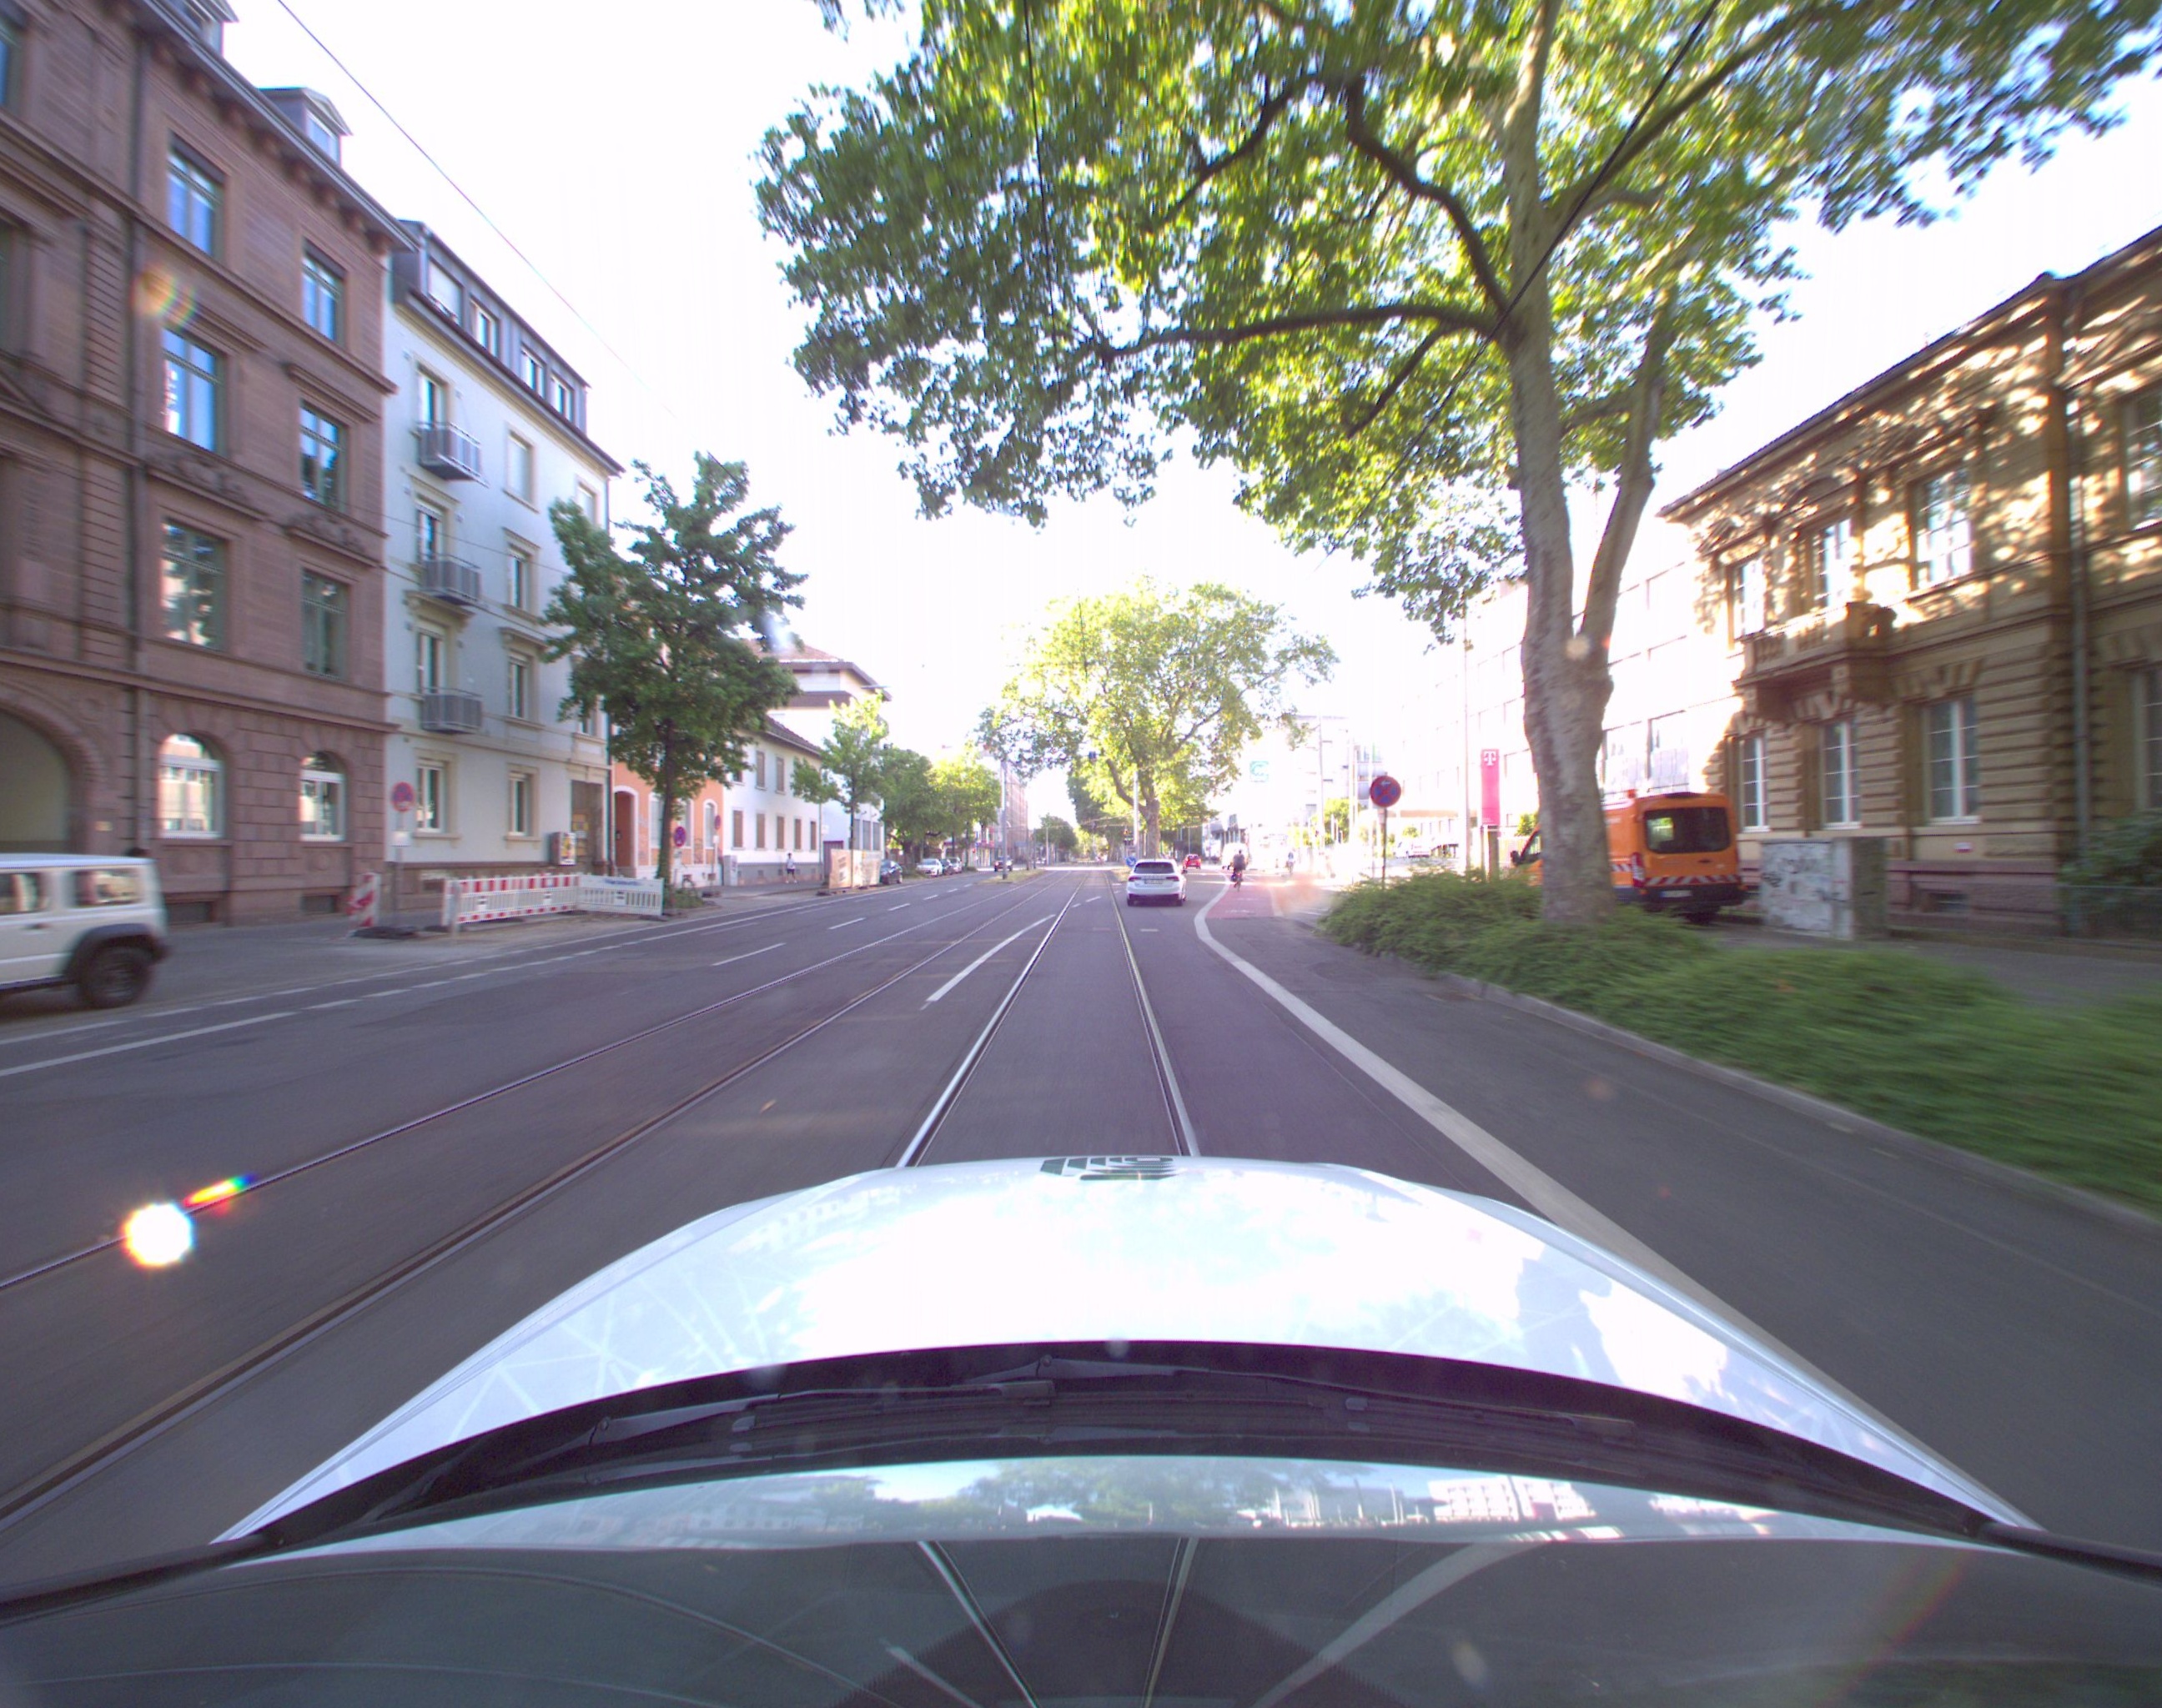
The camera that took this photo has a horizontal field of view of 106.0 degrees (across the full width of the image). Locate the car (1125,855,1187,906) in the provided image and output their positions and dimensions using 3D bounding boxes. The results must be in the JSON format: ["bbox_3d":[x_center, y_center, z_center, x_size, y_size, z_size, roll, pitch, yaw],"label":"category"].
[{"bbox_3d":[2.469,0.786,26.115,1.792,1.501,3.990,0,0,8],"label":"car"}]

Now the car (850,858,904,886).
[{"bbox_3d":[-12.017,1.026,48.272,1.987,1.513,4.724,-1,0,0],"label":"car"}]

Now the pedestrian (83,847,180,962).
[{"bbox_3d":[-14.045,0.727,12.065,0.566,1.654,0.687,1,0,-1],"label":"pedestrian"}]

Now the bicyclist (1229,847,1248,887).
[{"bbox_3d":[6.693,0.525,34.507,0.738,1.669,0.747,1,0,13],"label":"bicyclist"}]

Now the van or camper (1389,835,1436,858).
[{"bbox_3d":[28.977,-0.654,71.352,1.974,1.909,4.999,-1,0,0],"label":"van or camper"}]

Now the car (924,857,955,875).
[{"bbox_3d":[-12.346,0.999,71.405,1.988,1.476,4.647,-1,0,-1],"label":"car"}]

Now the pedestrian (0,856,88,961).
[{"bbox_3d":[-14.993,0.770,11.738,0.574,1.461,0.607,1,0,-1],"label":"pedestrian"}]

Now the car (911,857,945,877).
[{"bbox_3d":[-12.270,1.006,65.485,1.988,1.471,4.403,-1,0,-1],"label":"car"}]

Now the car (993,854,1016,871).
[{"bbox_3d":[-8.064,0.910,86.158,1.988,1.689,4.307,-1,0,-1],"label":"car"}]

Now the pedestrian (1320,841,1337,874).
[{"bbox_3d":[12.830,0.188,42.180,0.689,1.684,0.936,-1,0,24],"label":"pedestrian"}]

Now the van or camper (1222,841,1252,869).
[{"bbox_3d":[15.814,0.119,82.871,2.258,2.733,6.355,2,0,5],"label":"van or camper"}]

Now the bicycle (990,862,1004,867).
[{"bbox_3d":[-13.466,1.655,131.082,2.164,0.787,0.640,-1,0,-3],"label":"bicycle"}]

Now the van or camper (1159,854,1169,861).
[{"bbox_3d":[21.437,0.848,210.541,2.140,1.750,4.428,-2,0,-2],"label":"van or camper"}]

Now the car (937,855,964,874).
[{"bbox_3d":[-12.475,0.996,78.291,1.988,1.689,4.175,-1,0,-1],"label":"car"}]

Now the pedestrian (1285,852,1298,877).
[{"bbox_3d":[14.072,0.675,54.353,0.665,1.619,1.105,-3,-1,10],"label":"pedestrian"}]

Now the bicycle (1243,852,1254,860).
[{"bbox_3d":[31.378,0.314,152.161,1.928,1.443,0.575,-1,0,-1],"label":"bicycle"}]

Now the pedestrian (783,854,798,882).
[{"bbox_3d":[-16.159,0.782,45.256,0.592,1.570,0.639,-1,0,-2],"label":"pedestrian"}]

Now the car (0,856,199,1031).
[{"bbox_3d":[-11.620,0.897,8.273,1.626,1.706,3.368,2,0,-3],"label":"car"}]

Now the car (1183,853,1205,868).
[{"bbox_3d":[11.765,0.648,85.142,1.833,1.489,3.717,-1,0,1],"label":"car"}]

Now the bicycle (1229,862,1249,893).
[{"bbox_3d":[6.681,0.953,34.433,0.738,1.224,2.164,1,0,13],"label":"bicycle"}]

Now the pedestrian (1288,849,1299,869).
[{"bbox_3d":[18.282,0.434,70.153,0.781,1.748,0.774,-1,0,8],"label":"pedestrian"}]

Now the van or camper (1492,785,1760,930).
[{"bbox_3d":[11.154,0.060,17.397,2.028,2.559,5.776,-1,0,2],"label":"van or camper"}]

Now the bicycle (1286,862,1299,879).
[{"bbox_3d":[14.085,1.074,54.265,0.670,1.032,1.907,-3,0,11],"label":"bicycle"}]
